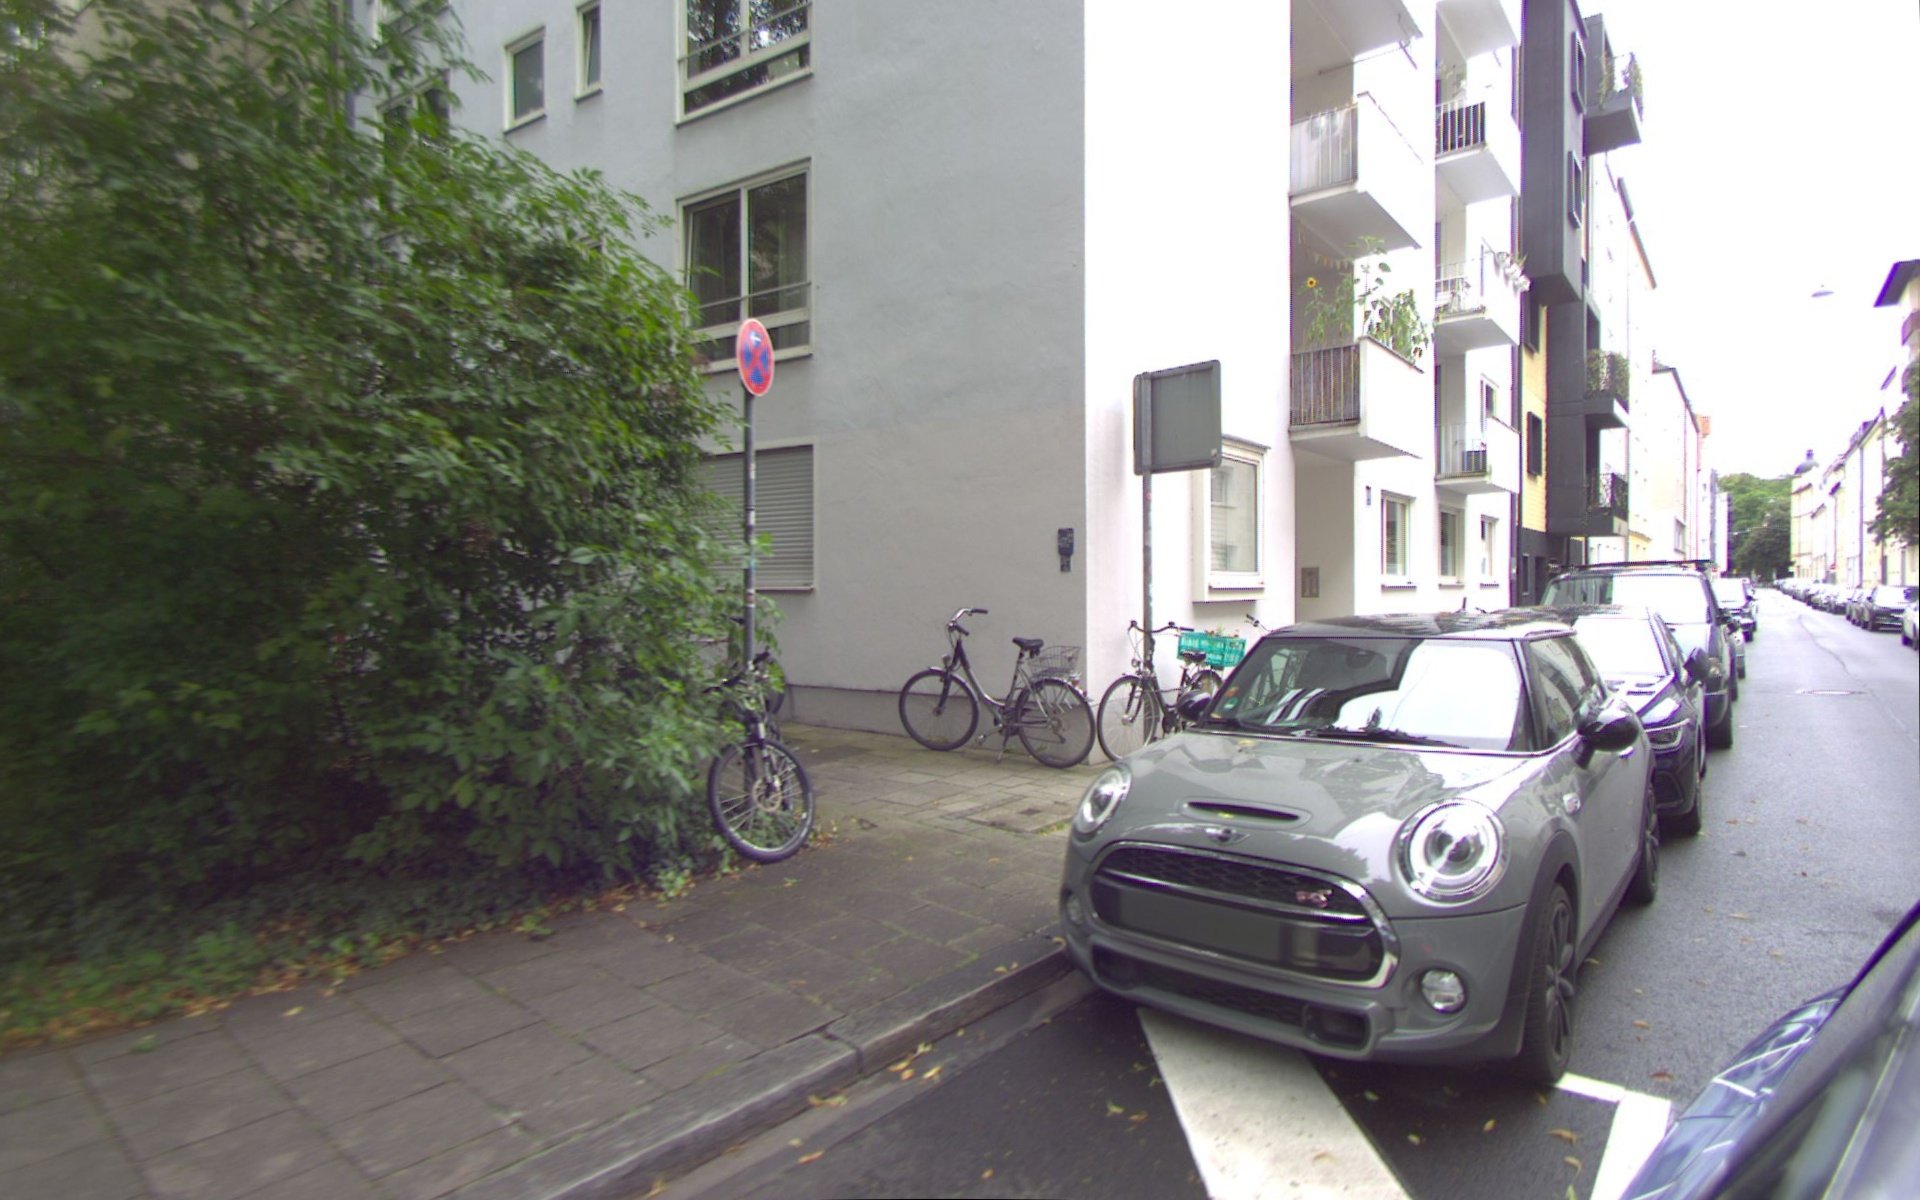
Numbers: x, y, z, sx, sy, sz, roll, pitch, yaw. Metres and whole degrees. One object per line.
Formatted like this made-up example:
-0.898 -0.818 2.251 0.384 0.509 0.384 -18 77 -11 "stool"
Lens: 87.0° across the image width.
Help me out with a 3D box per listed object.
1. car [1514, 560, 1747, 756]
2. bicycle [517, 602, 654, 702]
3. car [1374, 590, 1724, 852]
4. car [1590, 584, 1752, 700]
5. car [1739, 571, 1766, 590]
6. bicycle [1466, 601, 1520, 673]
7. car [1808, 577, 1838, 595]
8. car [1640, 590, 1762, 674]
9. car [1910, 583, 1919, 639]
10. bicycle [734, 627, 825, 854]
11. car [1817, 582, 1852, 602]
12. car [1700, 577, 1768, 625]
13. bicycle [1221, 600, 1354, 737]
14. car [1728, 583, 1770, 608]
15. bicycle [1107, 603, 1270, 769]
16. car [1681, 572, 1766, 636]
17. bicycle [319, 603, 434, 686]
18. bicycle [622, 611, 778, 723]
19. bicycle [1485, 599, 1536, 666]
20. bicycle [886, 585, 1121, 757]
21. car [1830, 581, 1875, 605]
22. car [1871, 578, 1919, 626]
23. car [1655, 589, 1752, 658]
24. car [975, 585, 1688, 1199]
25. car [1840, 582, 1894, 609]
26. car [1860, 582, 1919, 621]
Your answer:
7.990 0.484 11.842 1.871 1.813 4.716 0 1 39 "car"
-4.139 0.544 11.138 1.689 1.036 0.533 -1 0 34 "bicycle"
4.753 0.661 7.868 1.830 1.437 4.003 1 1 38 "car"
11.695 0.552 16.513 1.902 1.573 4.561 0 1 39 "car"
70.910 -1.740 90.513 1.888 1.651 4.237 0 1 39 "car"
9.172 0.612 17.389 0.569 1.165 1.411 -1 0 38 "bicycle"
76.826 -1.259 90.106 1.888 1.471 4.237 0 1 39 "car"
14.906 0.601 20.361 1.755 1.449 4.205 -3 -1 37 "car"
25.945 0.305 25.967 1.909 1.455 4.742 0 1 39 "car"
-1.018 0.720 5.872 0.442 1.069 1.637 0 0 -8 "bicycle"
67.064 -0.634 77.644 1.888 1.471 4.237 0 1 39 "car"
29.402 0.002 38.418 1.958 1.695 4.478 0 1 39 "car"
3.396 0.631 10.359 0.621 1.235 2.219 -1 0 36 "bicycle"
47.863 -0.307 61.374 1.963 1.394 4.237 0 1 39 "car"
1.985 0.659 8.601 0.558 1.235 1.890 -1 0 39 "bicycle"
24.532 0.081 32.450 1.978 1.862 5.112 -2 0 39 "car"
-7.778 0.571 13.474 1.689 1.036 0.645 -1 0 33 "bicycle"
-2.621 0.637 10.129 1.689 1.036 0.533 -1 0 34 "bicycle"
10.185 0.576 18.702 0.569 1.165 1.541 -1 0 38 "bicycle"
0.317 0.523 8.083 1.839 1.245 0.571 -1 0 32 "bicycle"
56.318 -0.467 63.925 1.888 1.471 4.237 0 1 39 "car"
33.982 0.038 36.074 1.963 1.627 4.477 0 1 39 "car"
17.779 0.491 24.170 1.730 1.447 4.146 0 1 37 "car"
1.973 0.675 4.480 1.741 1.459 3.942 1 1 40 "car"
49.629 -0.264 55.429 1.963 1.394 4.237 0 1 39 "car"
37.621 0.036 40.738 1.810 1.460 4.237 0 1 39 "car"
